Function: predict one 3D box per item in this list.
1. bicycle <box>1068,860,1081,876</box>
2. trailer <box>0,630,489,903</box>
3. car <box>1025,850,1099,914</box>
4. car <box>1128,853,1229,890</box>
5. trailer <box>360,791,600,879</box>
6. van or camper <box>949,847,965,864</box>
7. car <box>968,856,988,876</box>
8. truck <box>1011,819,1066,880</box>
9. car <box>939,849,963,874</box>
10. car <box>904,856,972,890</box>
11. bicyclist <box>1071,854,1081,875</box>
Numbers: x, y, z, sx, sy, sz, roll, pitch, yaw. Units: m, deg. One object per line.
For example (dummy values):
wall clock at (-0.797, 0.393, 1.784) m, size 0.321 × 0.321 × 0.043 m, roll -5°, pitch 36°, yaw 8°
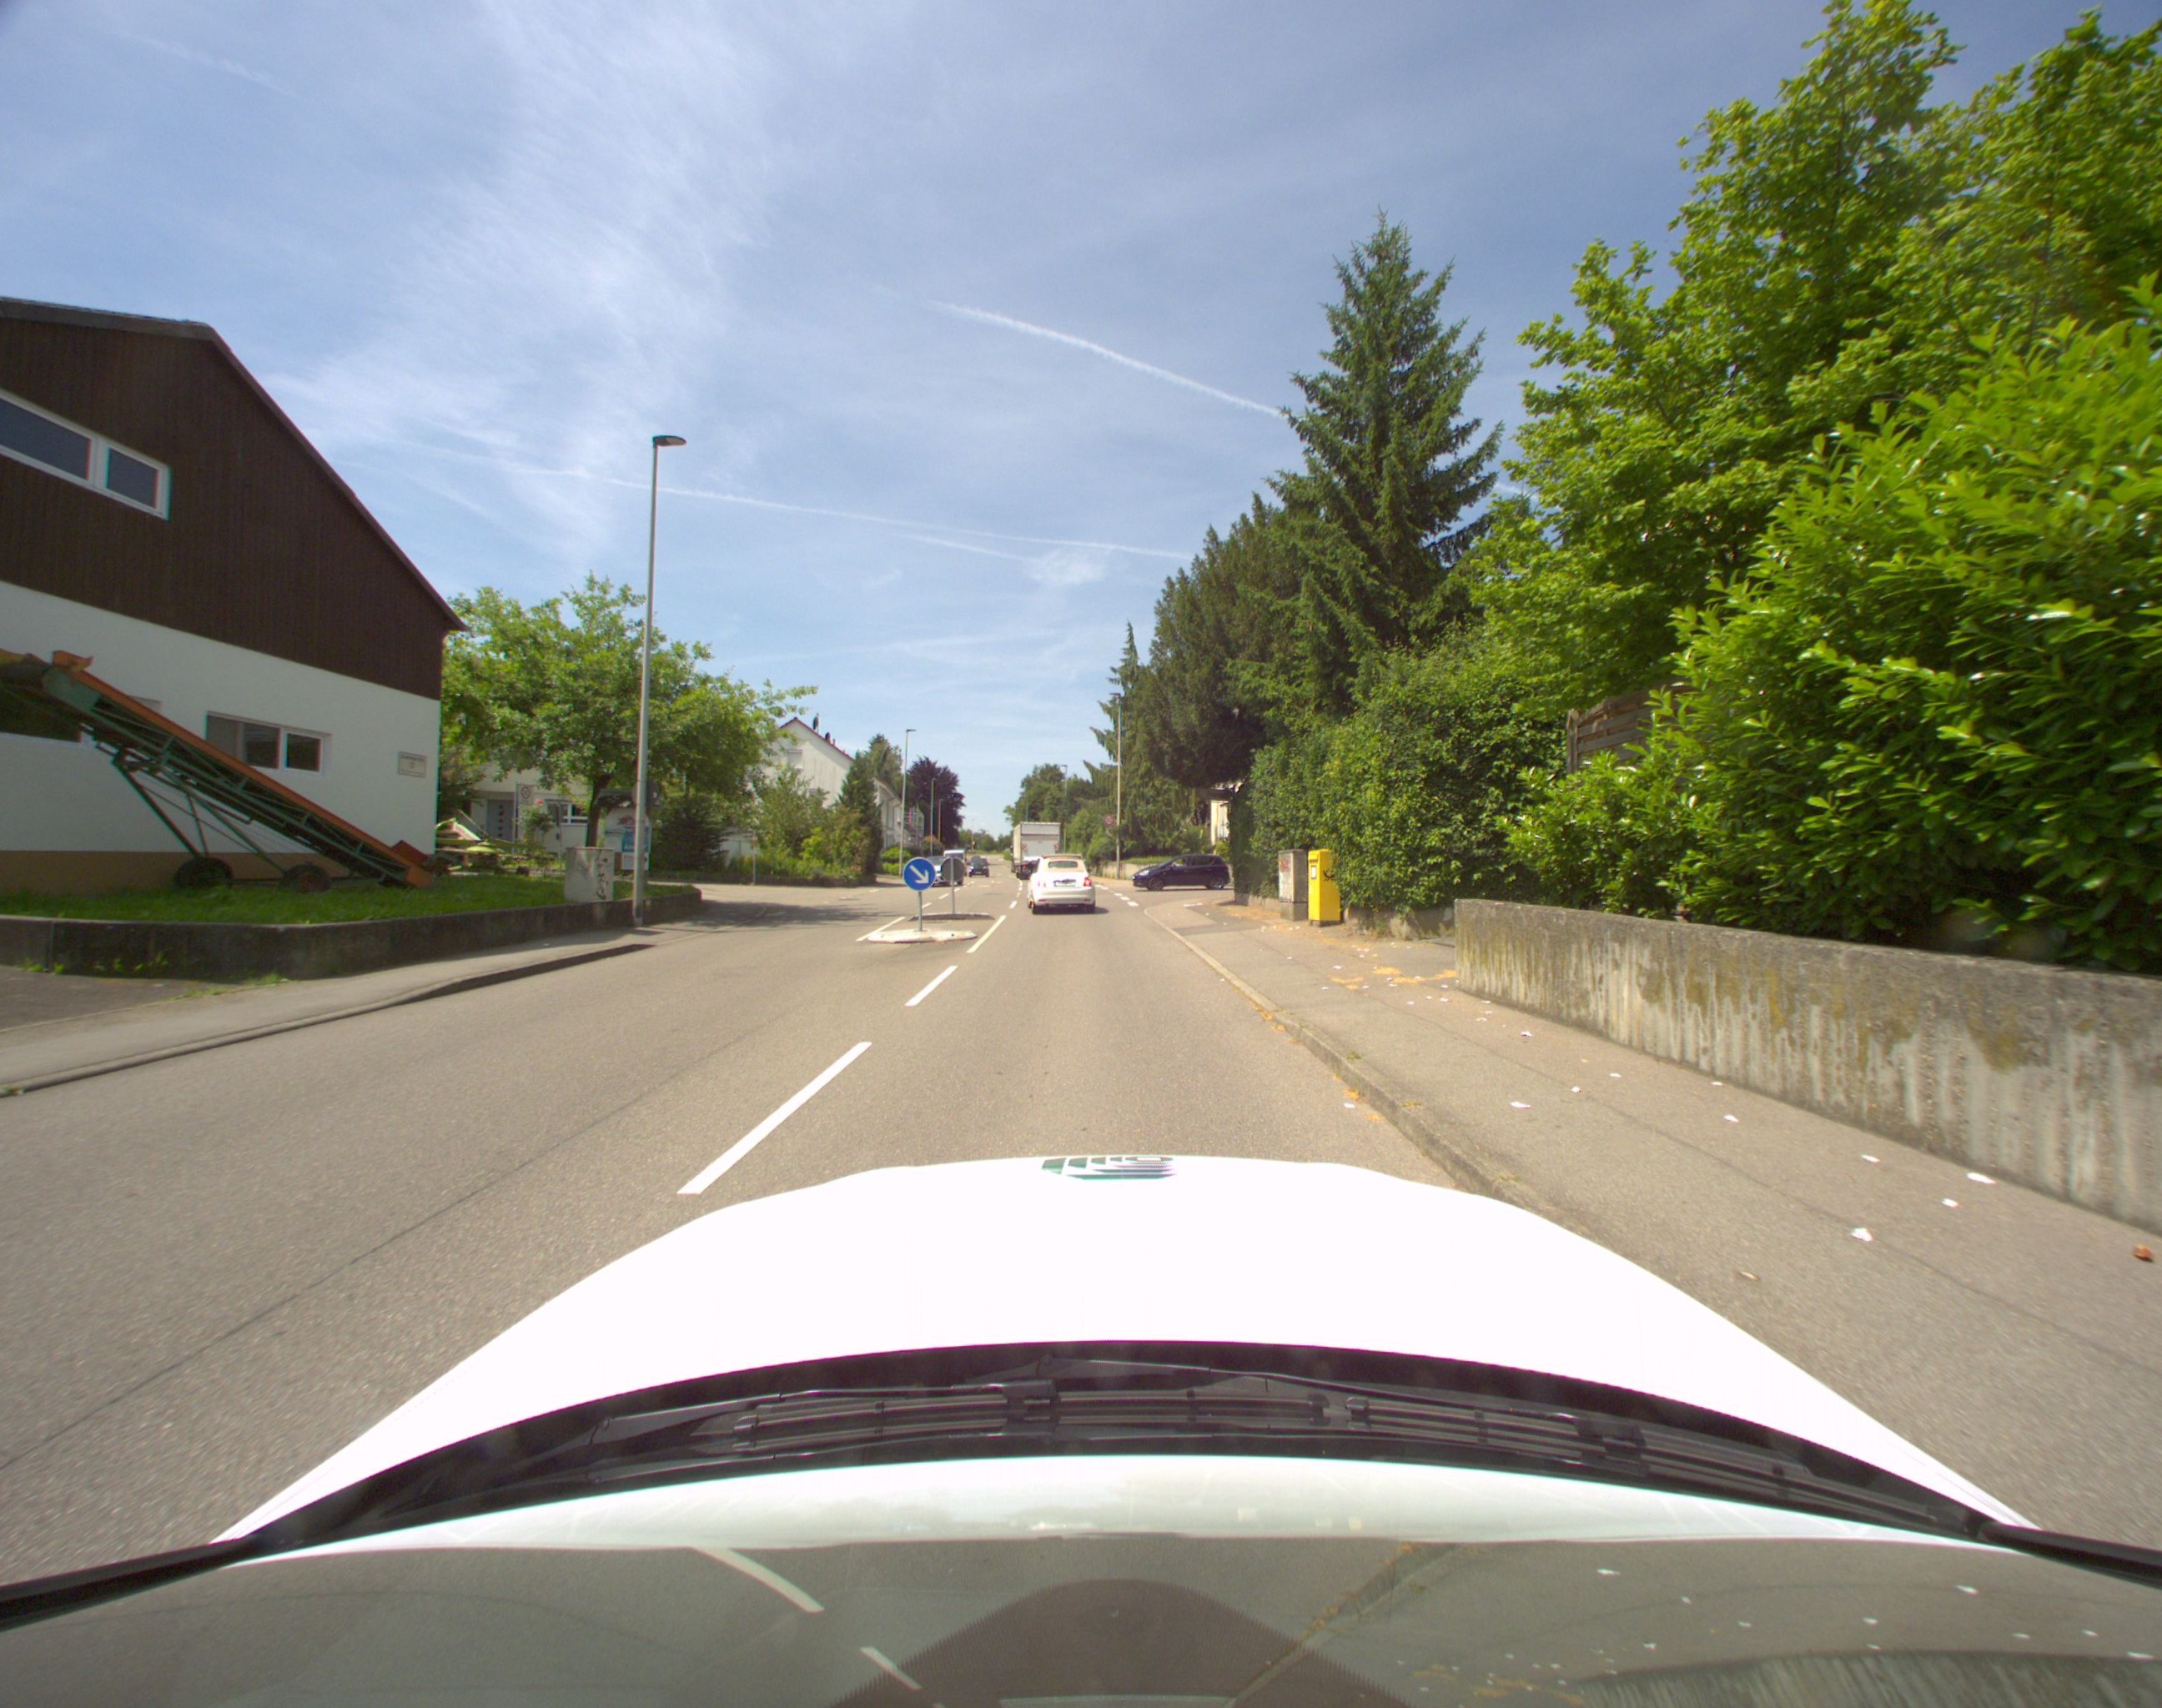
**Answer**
bicycle at (-0.452, 0.964, 57.513) m, size 0.667 × 1.104 × 2.419 m, roll 1°, pitch -1°, yaw -7°
trailer at (-11.496, -0.926, 11.612) m, size 1.708 × 2.848 × 6.169 m, roll 1°, pitch 0°, yaw -2°
car at (-0.604, 0.698, 22.186) m, size 1.722 × 1.560 × 3.992 m, roll -1°, pitch 0°, yaw -6°
car at (3.982, 0.691, 33.601) m, size 3.924 × 1.458 × 1.657 m, roll 0°, pitch 0°, yaw -3°
trailer at (-13.141, -0.404, 17.908) m, size 3.662 × 1.691 × 2.780 m, roll 3°, pitch 0°, yaw 26°
van or camper at (-22.383, 0.315, 147.396) m, size 2.261 × 2.962 × 5.879 m, roll 1°, pitch 0°, yaw -4°
car at (-8.111, 0.923, 64.510) m, size 1.478 × 1.510 × 2.795 m, roll -1°, pitch 0°, yaw -6°
truck at (-2.976, -0.254, 54.813) m, size 3.066 × 3.774 × 7.847 m, roll 0°, pitch -1°, yaw -7°
car at (-11.589, 0.677, 73.059) m, size 2.036 × 2.200 × 5.566 m, roll 0°, pitch 0°, yaw -8°
car at (-7.326, 0.996, 42.121) m, size 1.770 × 1.529 × 4.186 m, roll 3°, pitch -1°, yaw 15°
bicyclist at (-0.353, 0.737, 57.319) m, size 0.587 × 1.412 × 0.740 m, roll 1°, pitch 0°, yaw -6°
